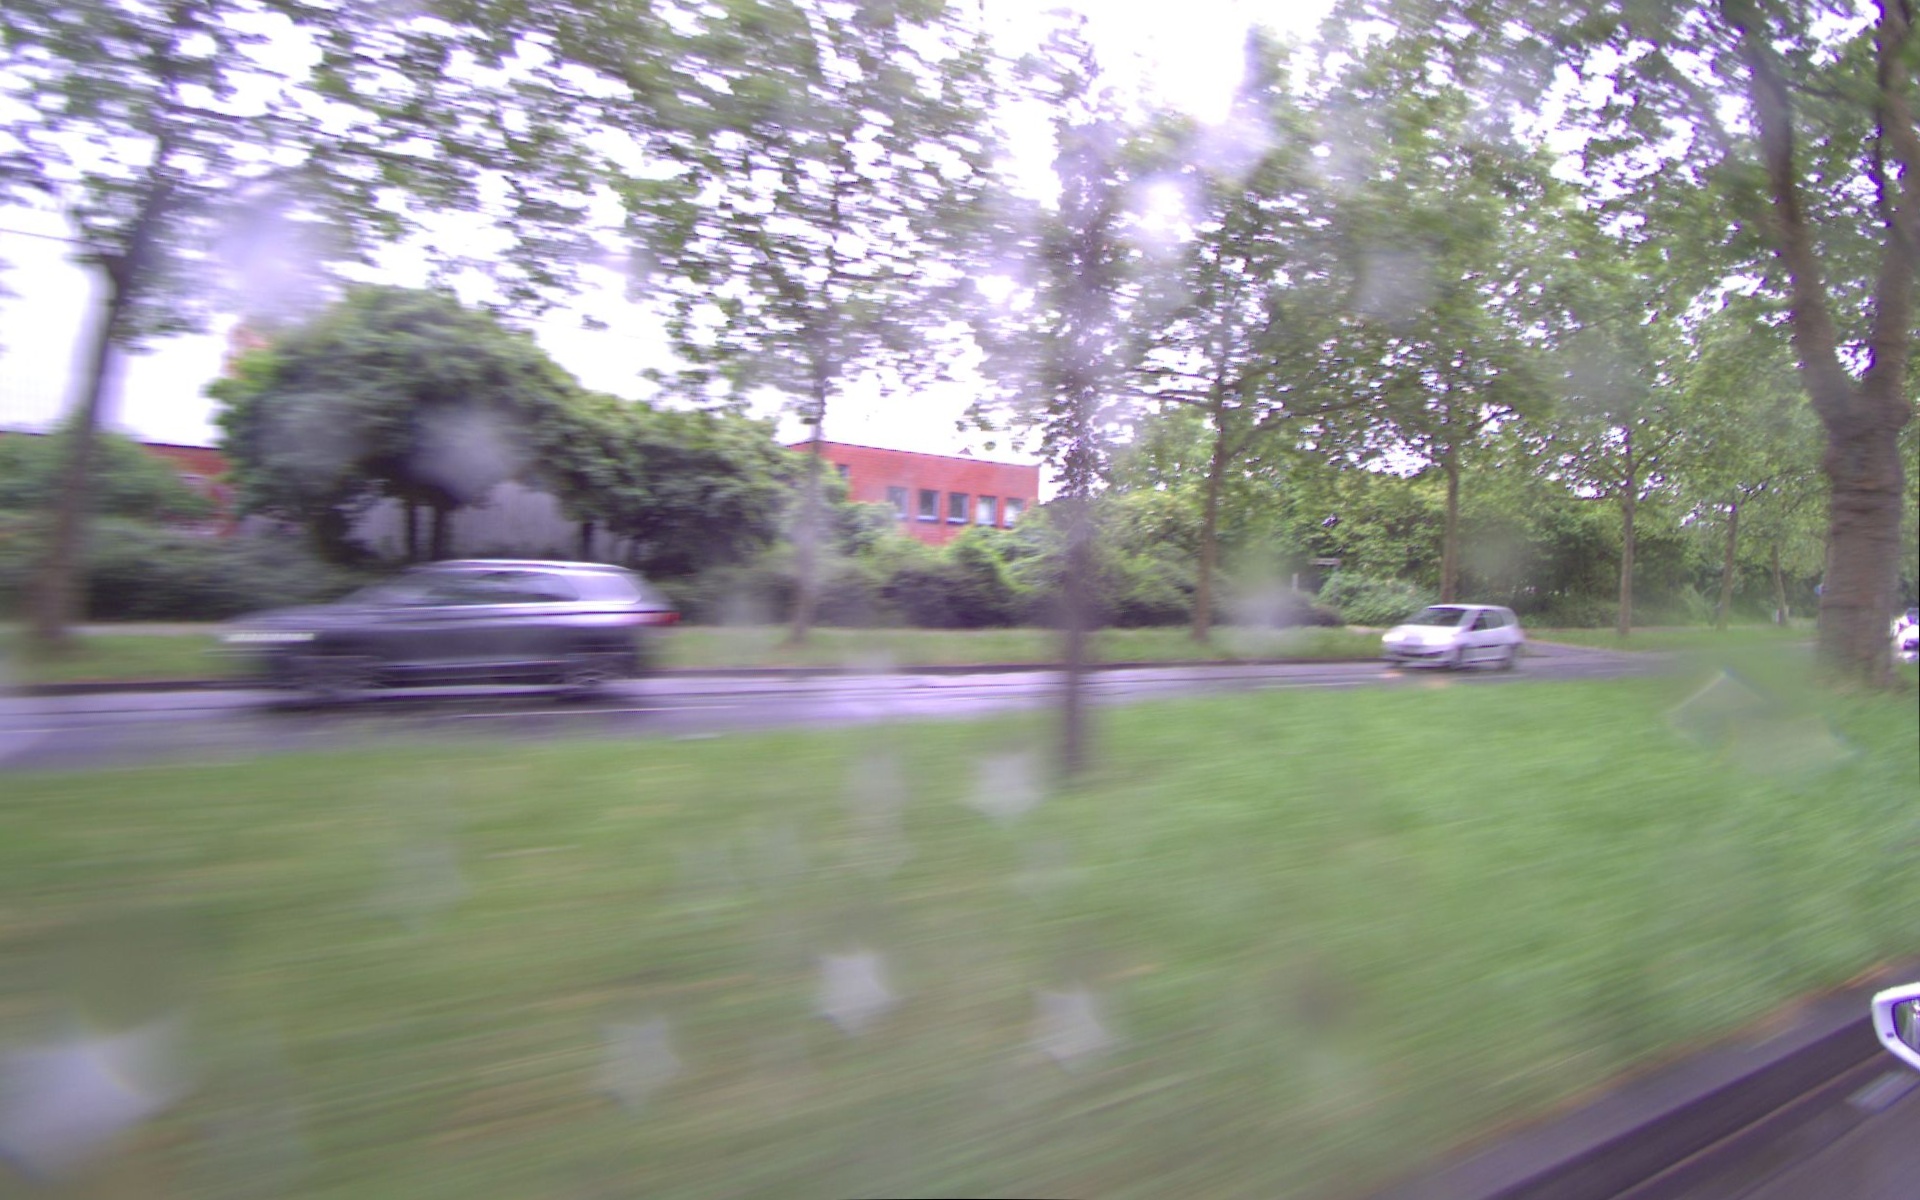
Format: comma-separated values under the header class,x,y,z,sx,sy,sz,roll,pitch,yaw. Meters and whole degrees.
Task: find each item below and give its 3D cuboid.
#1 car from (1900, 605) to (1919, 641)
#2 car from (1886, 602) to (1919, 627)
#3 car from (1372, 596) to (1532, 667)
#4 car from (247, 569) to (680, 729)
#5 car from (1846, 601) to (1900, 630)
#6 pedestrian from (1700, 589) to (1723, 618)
class,x,y,z,sx,sy,sz,roll,pitch,yaw
car,42.409,1.006,43.812,4.378,1.496,1.727,0,2,-43
car,65.658,0.964,69.481,4.174,1.613,1.729,0,2,-40
car,11.537,0.688,23.489,3.804,1.479,1.731,0,2,-36
car,-5.708,0.478,11.874,4.320,1.582,1.733,0,2,-32
car,52.045,0.862,57.214,4.049,1.496,1.728,0,2,-40
pedestrian,44.008,0.201,58.827,0.892,1.696,0.823,0,2,-41
